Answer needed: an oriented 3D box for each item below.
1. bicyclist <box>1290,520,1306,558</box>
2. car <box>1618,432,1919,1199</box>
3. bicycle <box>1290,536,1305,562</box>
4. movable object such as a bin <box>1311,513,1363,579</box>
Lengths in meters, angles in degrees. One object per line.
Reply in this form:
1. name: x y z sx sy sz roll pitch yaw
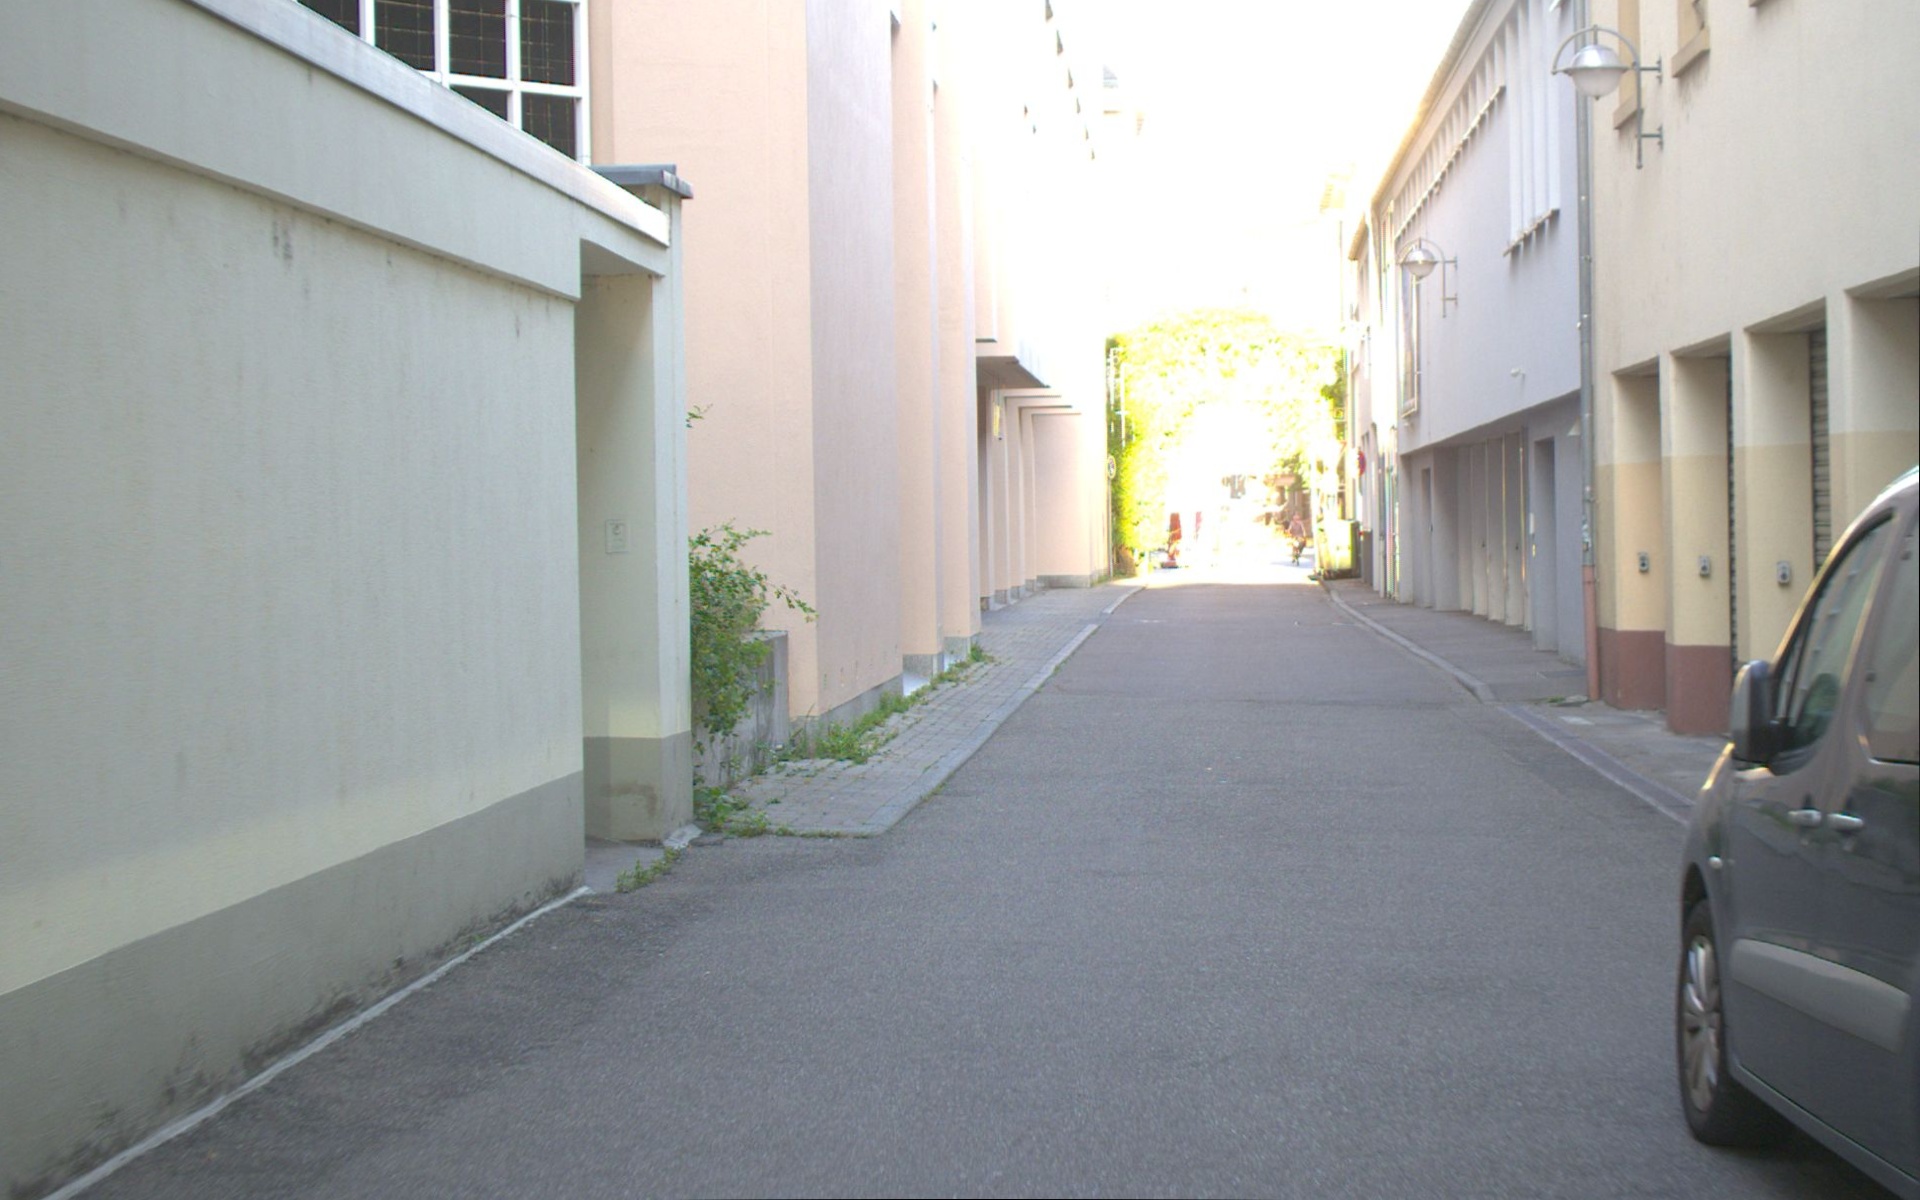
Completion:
1. bicyclist: 11.681 -2.107 118.764 0.512 1.318 0.558 0 1 7
2. car: 2.661 0.541 7.205 1.855 1.750 4.162 -1 1 2
3. bicycle: 11.667 -1.764 118.800 0.443 0.912 1.516 0 1 7
4. movable object such as a bin: 8.685 -1.255 79.304 1.107 1.431 1.414 -2 3 5
